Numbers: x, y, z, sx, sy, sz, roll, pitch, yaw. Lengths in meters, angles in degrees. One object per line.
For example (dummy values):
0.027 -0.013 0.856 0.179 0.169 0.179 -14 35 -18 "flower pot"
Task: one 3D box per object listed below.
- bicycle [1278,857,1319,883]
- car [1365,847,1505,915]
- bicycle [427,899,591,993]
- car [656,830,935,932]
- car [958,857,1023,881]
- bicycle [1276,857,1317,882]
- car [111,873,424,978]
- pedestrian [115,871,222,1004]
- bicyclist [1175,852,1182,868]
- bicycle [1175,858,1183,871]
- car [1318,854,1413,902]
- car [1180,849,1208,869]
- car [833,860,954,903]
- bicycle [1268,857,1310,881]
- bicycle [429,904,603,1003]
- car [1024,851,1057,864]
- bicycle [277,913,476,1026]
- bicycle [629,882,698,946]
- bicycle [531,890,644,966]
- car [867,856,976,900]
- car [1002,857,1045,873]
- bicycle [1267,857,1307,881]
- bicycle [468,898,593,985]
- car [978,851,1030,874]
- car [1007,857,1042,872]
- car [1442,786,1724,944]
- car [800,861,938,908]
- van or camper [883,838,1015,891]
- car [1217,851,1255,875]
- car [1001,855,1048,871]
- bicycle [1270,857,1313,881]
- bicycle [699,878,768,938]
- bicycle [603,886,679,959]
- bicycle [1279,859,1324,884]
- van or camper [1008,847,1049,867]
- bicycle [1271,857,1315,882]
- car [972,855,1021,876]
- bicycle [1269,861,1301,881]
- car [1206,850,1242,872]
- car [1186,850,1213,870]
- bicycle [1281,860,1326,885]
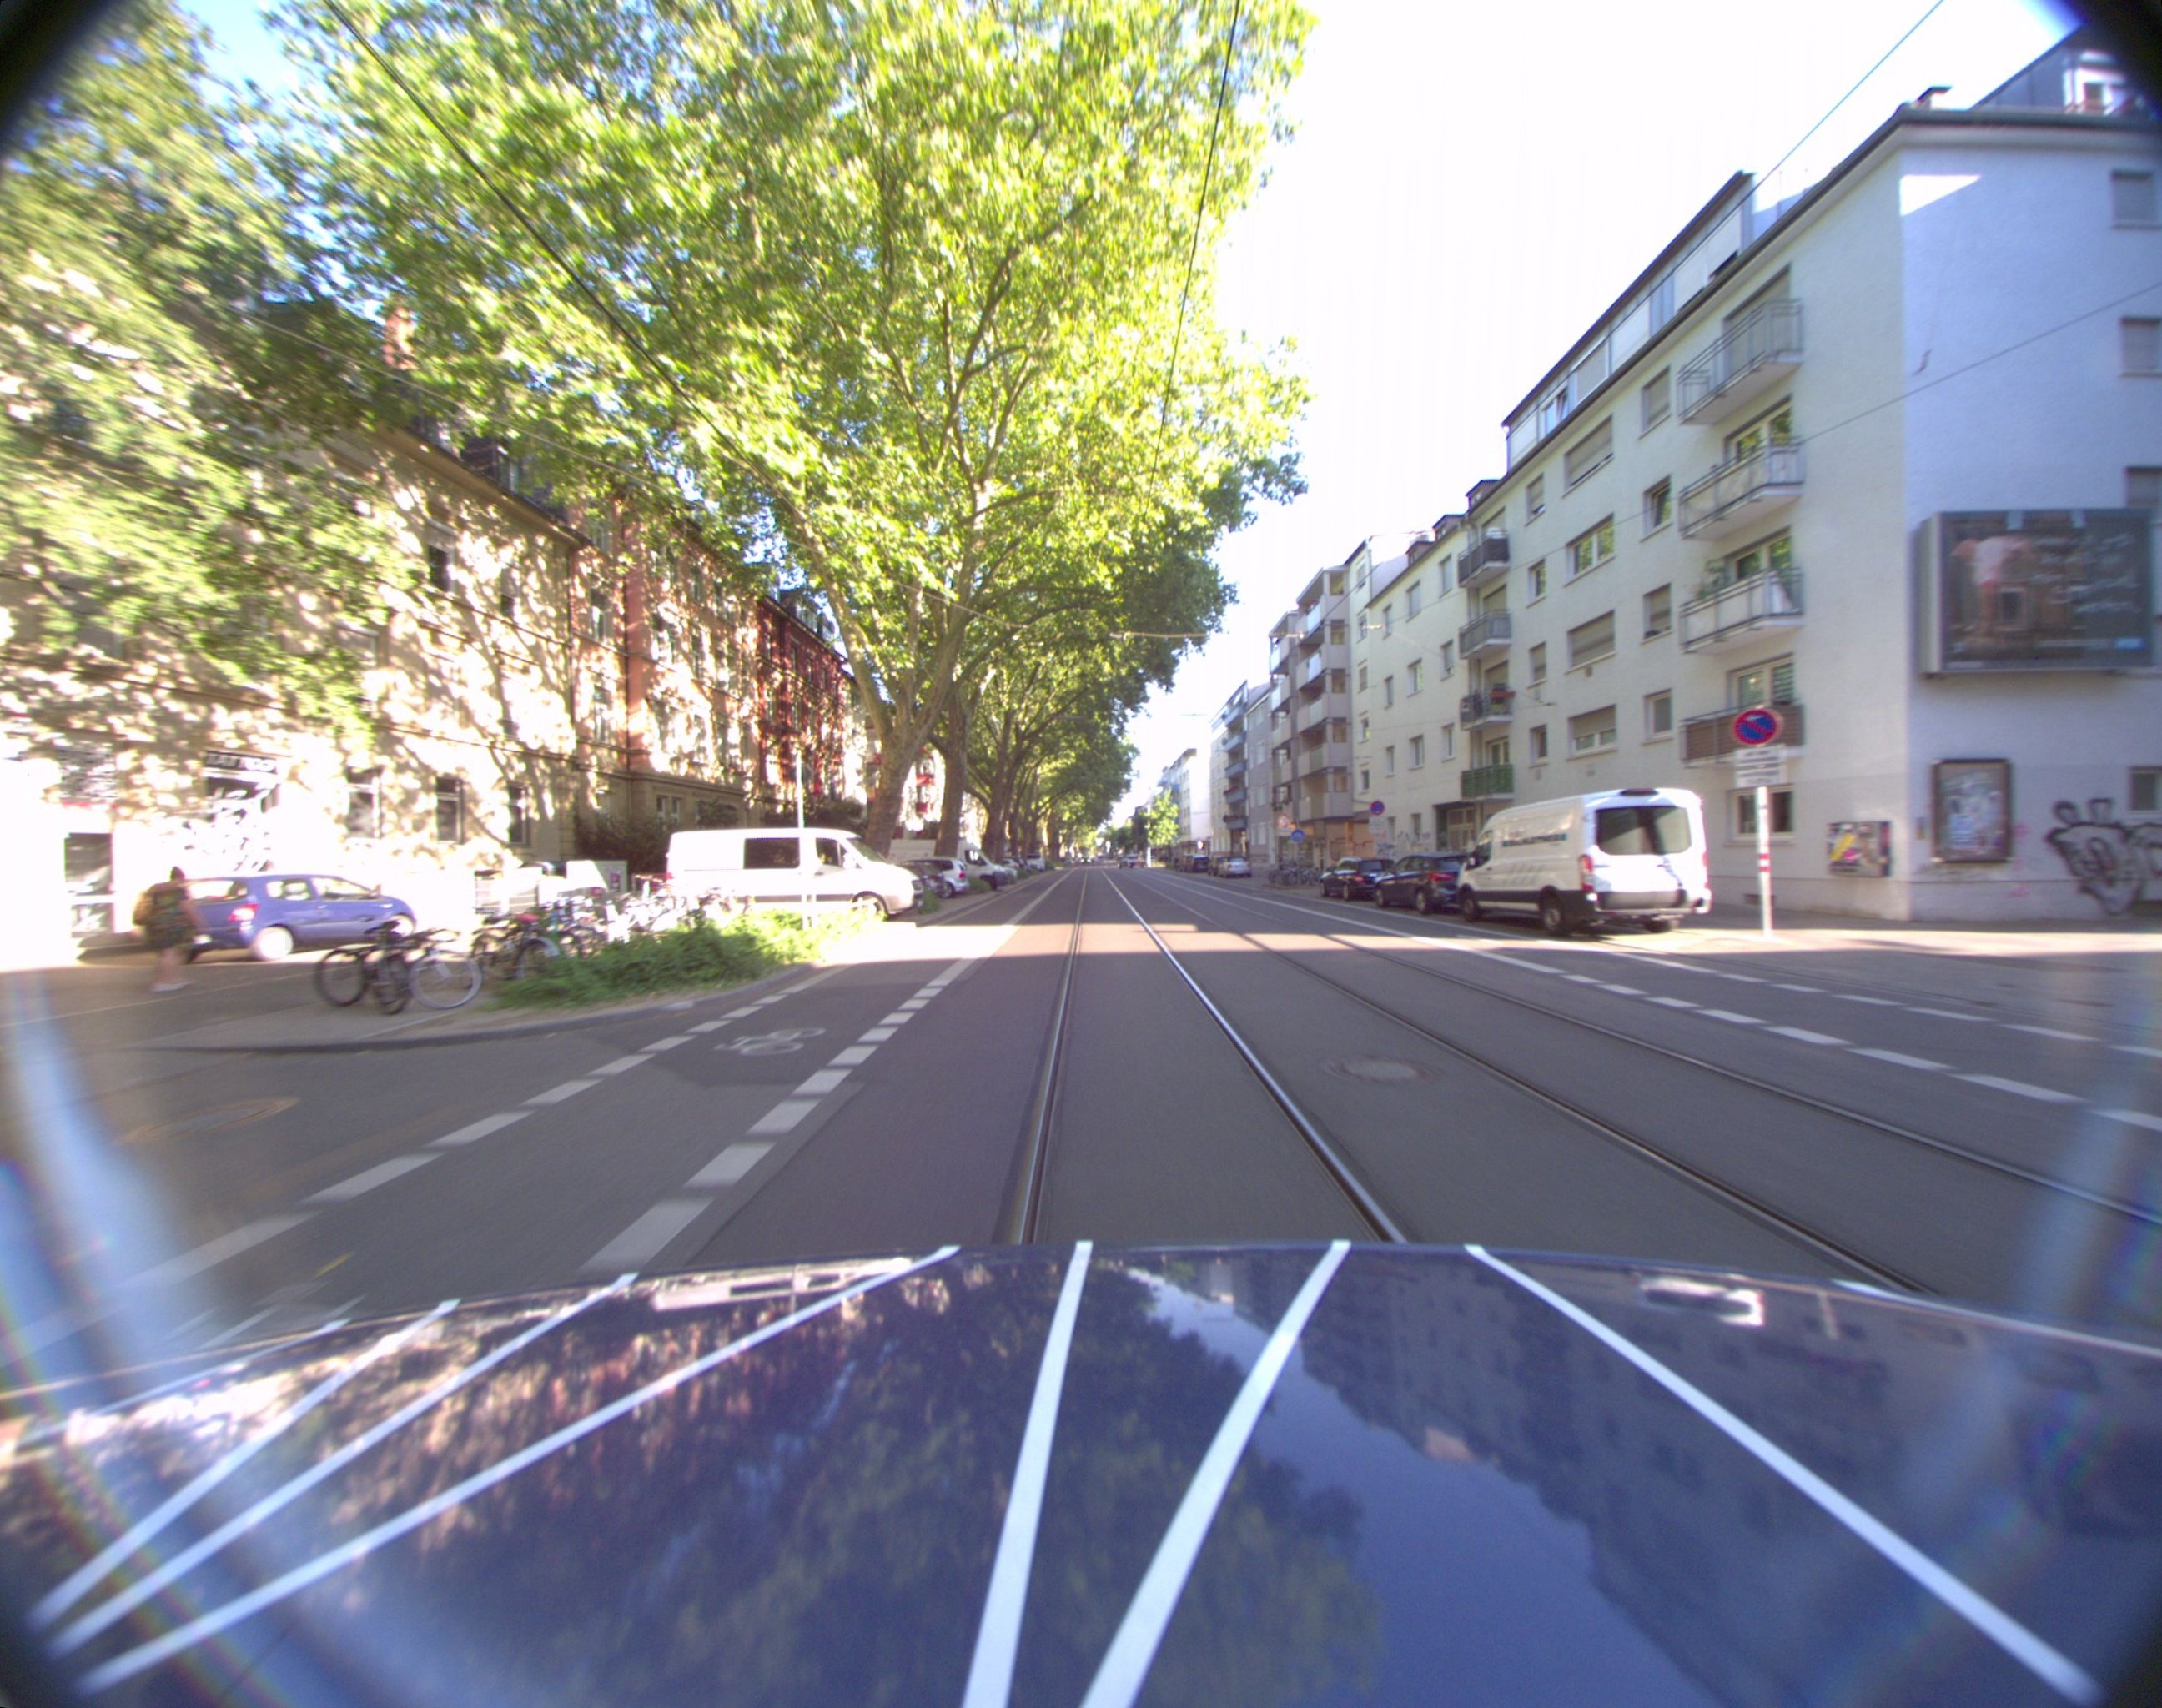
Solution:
10.247 0.755 35.818 1.792 1.112 0.425 -2 1 8 "bicycle"
9.359 0.634 20.533 1.723 1.622 4.346 -1 0 0 "car"
-7.624 1.219 10.133 2.045 1.172 0.413 -1 2 10 "bicycle"
-6.802 0.631 18.523 6.005 2.269 2.006 -1 0 3 "car"
-5.804 0.948 49.103 3.963 1.471 1.688 0 1 1 "car"
10.301 0.749 36.317 1.822 1.112 0.425 -2 1 8 "bicycle"
-14.149 1.145 13.560 1.737 1.447 3.569 -2 1 -2 "car"
-11.978 1.066 10.002 0.594 1.642 0.707 -2 2 -25 "pedestrian"
8.347 0.485 65.029 0.510 1.386 0.709 1 1 1 "bicyclist"
8.321 0.889 64.596 0.418 1.012 1.947 1 1 1 "bicycle"
9.596 0.755 26.029 1.722 1.448 4.572 -1 0 3 "car"
10.487 0.453 70.898 1.784 1.728 4.489 -3 0 -1 "car"
-6.833 0.992 27.918 3.964 1.470 1.796 -1 1 1 "car"
10.389 0.733 38.029 1.935 1.112 0.440 -2 1 8 "bicycle"
-7.108 1.240 9.563 2.045 1.172 0.413 -1 2 10 "bicycle"
-4.665 0.392 87.708 3.570 1.431 1.726 -1 1 4 "car"
-7.852 1.274 8.474 2.045 1.172 0.413 -1 2 10 "bicycle"
-8.377 1.171 15.210 2.043 1.172 0.414 -1 2 38 "bicycle"
-8.128 1.189 12.488 2.044 1.172 0.414 -1 2 22 "bicycle"
-6.328 0.938 30.482 3.965 1.646 1.795 -1 1 -2 "car"
-5.303 0.995 69.798 3.838 1.435 1.699 0 -2 -6 "car"
10.459 0.760 38.659 1.897 1.112 0.402 -2 1 8 "bicycle"
-8.068 1.246 11.116 2.044 1.172 0.414 -1 2 22 "bicycle"
-6.224 0.698 61.676 4.003 1.734 1.805 -1 0 1 "car"
-6.046 1.085 81.296 3.572 1.522 1.677 -1 1 -1 "car"
9.479 0.171 15.139 2.069 2.521 5.667 -1 0 3 "car"
-6.970 0.989 25.318 4.064 1.451 1.796 -1 1 -1 "car"
-6.369 0.491 37.116 6.048 2.476 2.107 -1 1 0 "van or camper"
10.274 0.590 50.655 1.693 1.482 4.728 -1 0 2 "car"
-5.383 0.852 72.642 4.206 1.473 1.911 0 1 2 "car"
10.357 0.738 37.490 1.964 1.112 0.440 -2 1 8 "bicycle"
-7.383 1.104 16.093 2.043 1.172 0.414 -1 2 38 "bicycle"
-7.900 1.184 13.604 2.043 1.172 0.414 -1 2 38 "bicycle"
10.148 0.805 35.034 1.897 1.032 0.402 -2 1 8 "bicycle"
-5.755 0.319 83.872 4.388 2.097 1.838 -1 1 -3 "van or camper"
10.316 0.743 37.004 1.972 1.112 0.425 -2 1 8 "bicycle"
-6.577 0.876 59.269 3.618 1.486 1.660 -1 1 -1 "car"
10.538 0.878 39.248 1.624 0.912 0.401 -3 1 -16 "bicycle"
10.382 0.464 55.510 1.798 1.482 4.240 -1 0 0 "car"
10.280 0.513 66.226 1.660 1.591 4.202 -3 0 0 "car"
10.085 0.839 34.468 1.897 1.032 0.402 -2 1 8 "bicycle"
